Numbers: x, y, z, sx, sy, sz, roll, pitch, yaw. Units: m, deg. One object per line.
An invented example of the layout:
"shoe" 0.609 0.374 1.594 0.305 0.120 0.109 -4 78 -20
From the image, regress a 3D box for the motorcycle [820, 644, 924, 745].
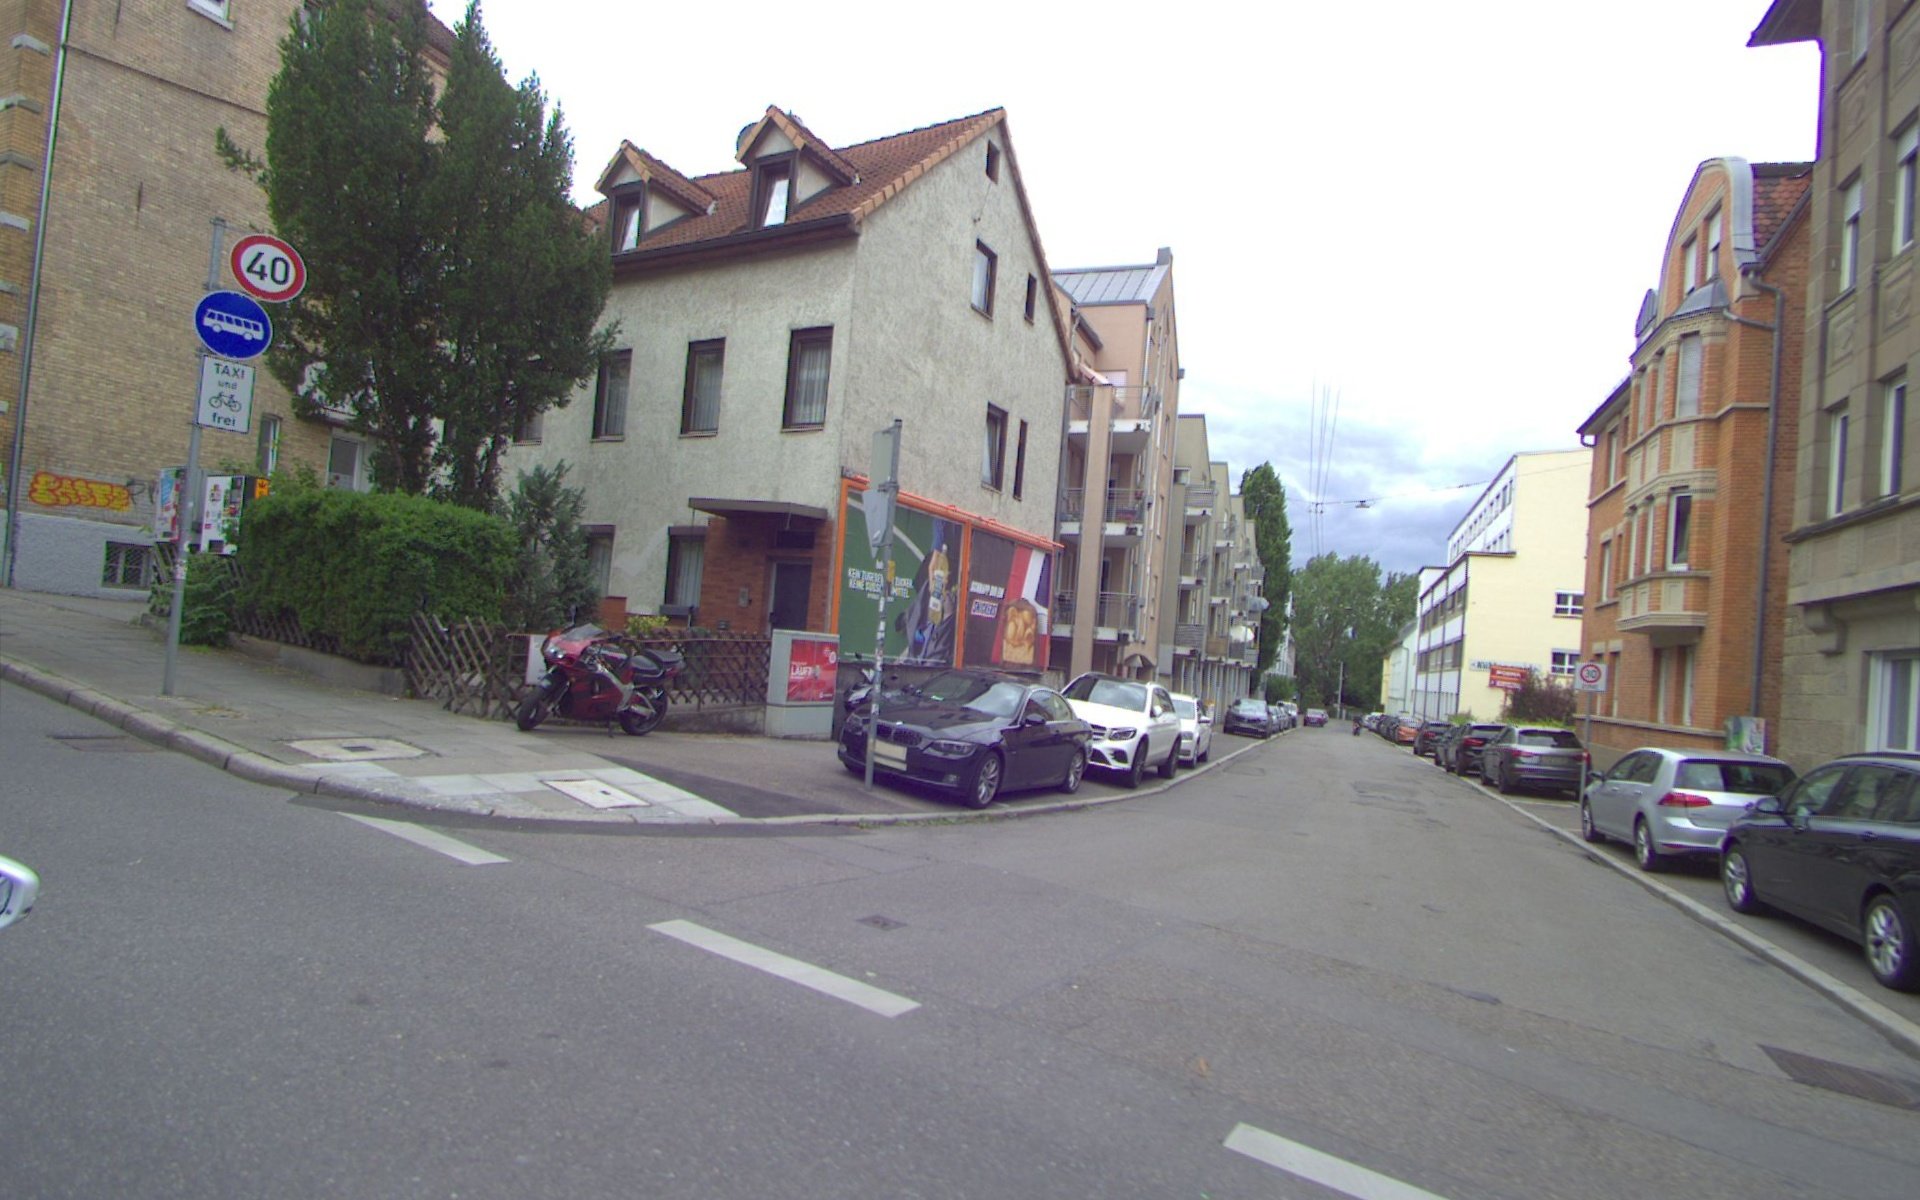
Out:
"motorcycle" -1.303 1.447 15.202 0.700 1.359 1.459 7 -2 30

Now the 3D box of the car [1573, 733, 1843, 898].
"car" 9.252 2.567 12.817 1.657 1.478 3.878 2 -4 20

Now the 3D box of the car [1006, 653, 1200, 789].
"car" 2.537 2.020 16.764 1.841 1.681 4.319 9 -3 25

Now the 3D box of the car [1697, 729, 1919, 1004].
"car" 7.683 1.991 7.933 1.753 1.664 4.383 2 -4 19

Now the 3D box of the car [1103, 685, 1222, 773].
"car" 4.661 2.827 22.619 1.761 1.469 4.319 9 -2 21

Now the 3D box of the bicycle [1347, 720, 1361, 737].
"bicycle" 28.017 9.154 71.536 0.695 1.093 2.024 5 -3 27

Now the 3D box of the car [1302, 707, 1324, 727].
"car" 33.719 11.149 96.096 1.808 1.586 3.986 6 -3 19

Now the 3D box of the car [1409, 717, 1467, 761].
"car" 20.694 5.969 43.648 1.773 1.585 3.986 2 -4 19

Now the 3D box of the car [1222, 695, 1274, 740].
"car" 12.373 4.976 43.059 1.772 1.586 3.986 6 -3 19

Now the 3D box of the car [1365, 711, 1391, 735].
"car" 39.570 11.590 95.269 1.808 1.935 3.986 6 -3 19

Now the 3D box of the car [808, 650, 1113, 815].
"car" 0.217 1.526 12.063 1.752 1.300 4.136 11 -1 28

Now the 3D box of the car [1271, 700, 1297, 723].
"car" 26.559 9.112 82.396 1.772 1.586 3.986 6 -3 19

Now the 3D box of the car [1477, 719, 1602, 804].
"car" 13.559 3.731 23.776 1.773 1.585 3.986 2 -4 19

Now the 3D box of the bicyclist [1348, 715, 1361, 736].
"bicyclist" 28.041 8.910 71.534 0.695 1.395 0.973 5 -3 27

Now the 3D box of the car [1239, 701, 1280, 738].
"car" 15.877 6.276 53.152 1.772 1.586 3.986 6 -3 19

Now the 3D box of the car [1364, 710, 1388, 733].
"car" 41.440 12.087 100.210 1.808 1.935 3.986 6 -3 19

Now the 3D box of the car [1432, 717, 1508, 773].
"car" 17.556 4.965 34.788 1.773 1.585 3.986 2 -4 19

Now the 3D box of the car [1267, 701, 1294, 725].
"car" 24.848 8.723 78.000 1.772 1.586 3.986 6 -3 19

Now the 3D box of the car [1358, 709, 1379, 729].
"car" 46.376 13.455 114.203 1.808 1.935 3.986 6 -3 19

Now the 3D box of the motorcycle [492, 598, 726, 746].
"motorcycle" -3.592 0.783 10.525 0.992 1.282 2.063 7 -3 26

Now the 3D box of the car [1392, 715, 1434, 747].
"car" 25.931 7.481 57.636 1.773 1.585 3.986 2 -4 19

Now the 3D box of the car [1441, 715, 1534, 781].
"car" 15.408 4.294 29.590 1.773 1.585 3.986 2 -4 19
